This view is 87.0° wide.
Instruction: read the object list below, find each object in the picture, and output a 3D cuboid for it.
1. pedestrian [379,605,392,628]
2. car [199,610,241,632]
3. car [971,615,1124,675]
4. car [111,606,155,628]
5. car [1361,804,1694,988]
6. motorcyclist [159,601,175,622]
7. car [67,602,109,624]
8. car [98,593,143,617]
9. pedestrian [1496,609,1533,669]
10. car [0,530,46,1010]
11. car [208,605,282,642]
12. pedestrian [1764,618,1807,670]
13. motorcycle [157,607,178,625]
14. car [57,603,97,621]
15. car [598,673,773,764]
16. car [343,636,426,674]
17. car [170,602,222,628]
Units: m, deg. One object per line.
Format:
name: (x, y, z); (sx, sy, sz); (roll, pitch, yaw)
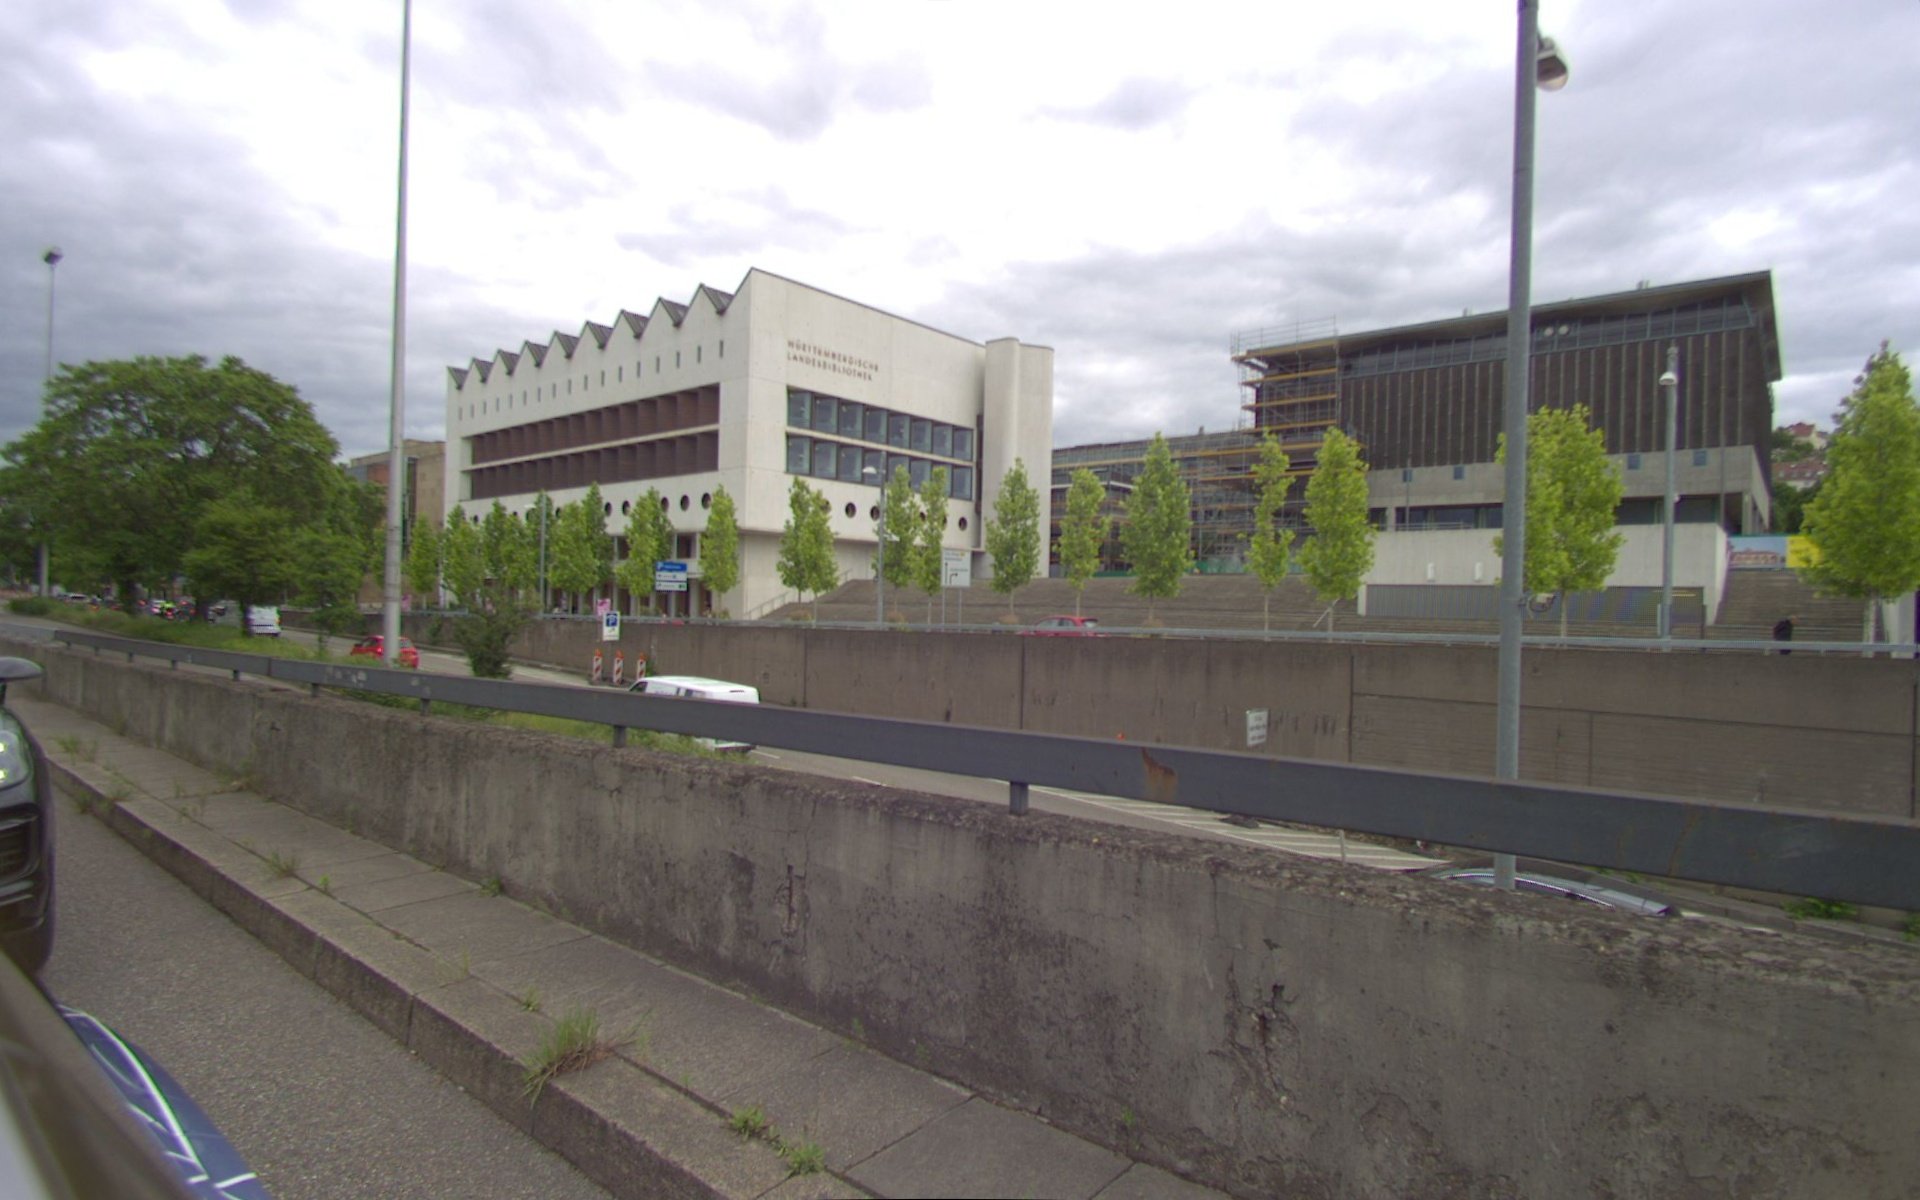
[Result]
pedestrian: (-50.856, 1.445, 89.649); (1.016, 2.029, 0.712); (1, 1, 42)
car: (-63.061, 1.773, 86.232); (3.998, 1.776, 1.973); (0, -3, 41)
car: (2.889, 1.455, 34.019); (4.729, 1.869, 2.154); (-1, -1, 38)
car: (-72.717, 1.513, 88.958); (4.514, 1.657, 2.133); (2, -2, 40)
car: (8.242, 4.164, 14.886); (3.999, 1.560, 1.855); (0, -1, 42)
motorcyclist: (-54.041, 0.774, 68.976); (0.718, 1.362, 0.662); (3, -3, 41)
car: (-72.548, 1.064, 84.186); (4.515, 1.687, 1.973); (0, -4, 41)
car: (-61.561, 0.376, 74.180); (4.144, 1.500, 1.757); (3, 0, 40)
pedestrian: (19.094, 1.337, 34.858); (0.728, 2.029, 0.795); (0, -2, -19)
car: (-5.479, 0.560, 4.405); (4.733, 1.602, 1.879); (0, 0, 44)
car: (-40.224, 1.301, 56.887); (5.246, 1.651, 1.973); (2, -5, 40)
pedestrian: (26.517, 1.410, 32.510); (0.728, 1.655, 0.795); (1, -3, -30)
motorcycle: (-53.989, 1.090, 68.901); (2.050, 1.106, 0.678); (3, -2, 41)
car: (-76.198, 1.037, 87.292); (3.998, 1.409, 1.973); (0, -4, 41)
car: (-7.678, 3.163, 28.028); (5.112, 2.029, 2.195); (-1, -2, 40)
car: (-24.914, 2.331, 43.742); (3.999, 1.497, 1.972); (-1, -2, 42)
car: (-55.805, 1.092, 73.910); (4.385, 1.624, 1.852); (4, 0, 38)
